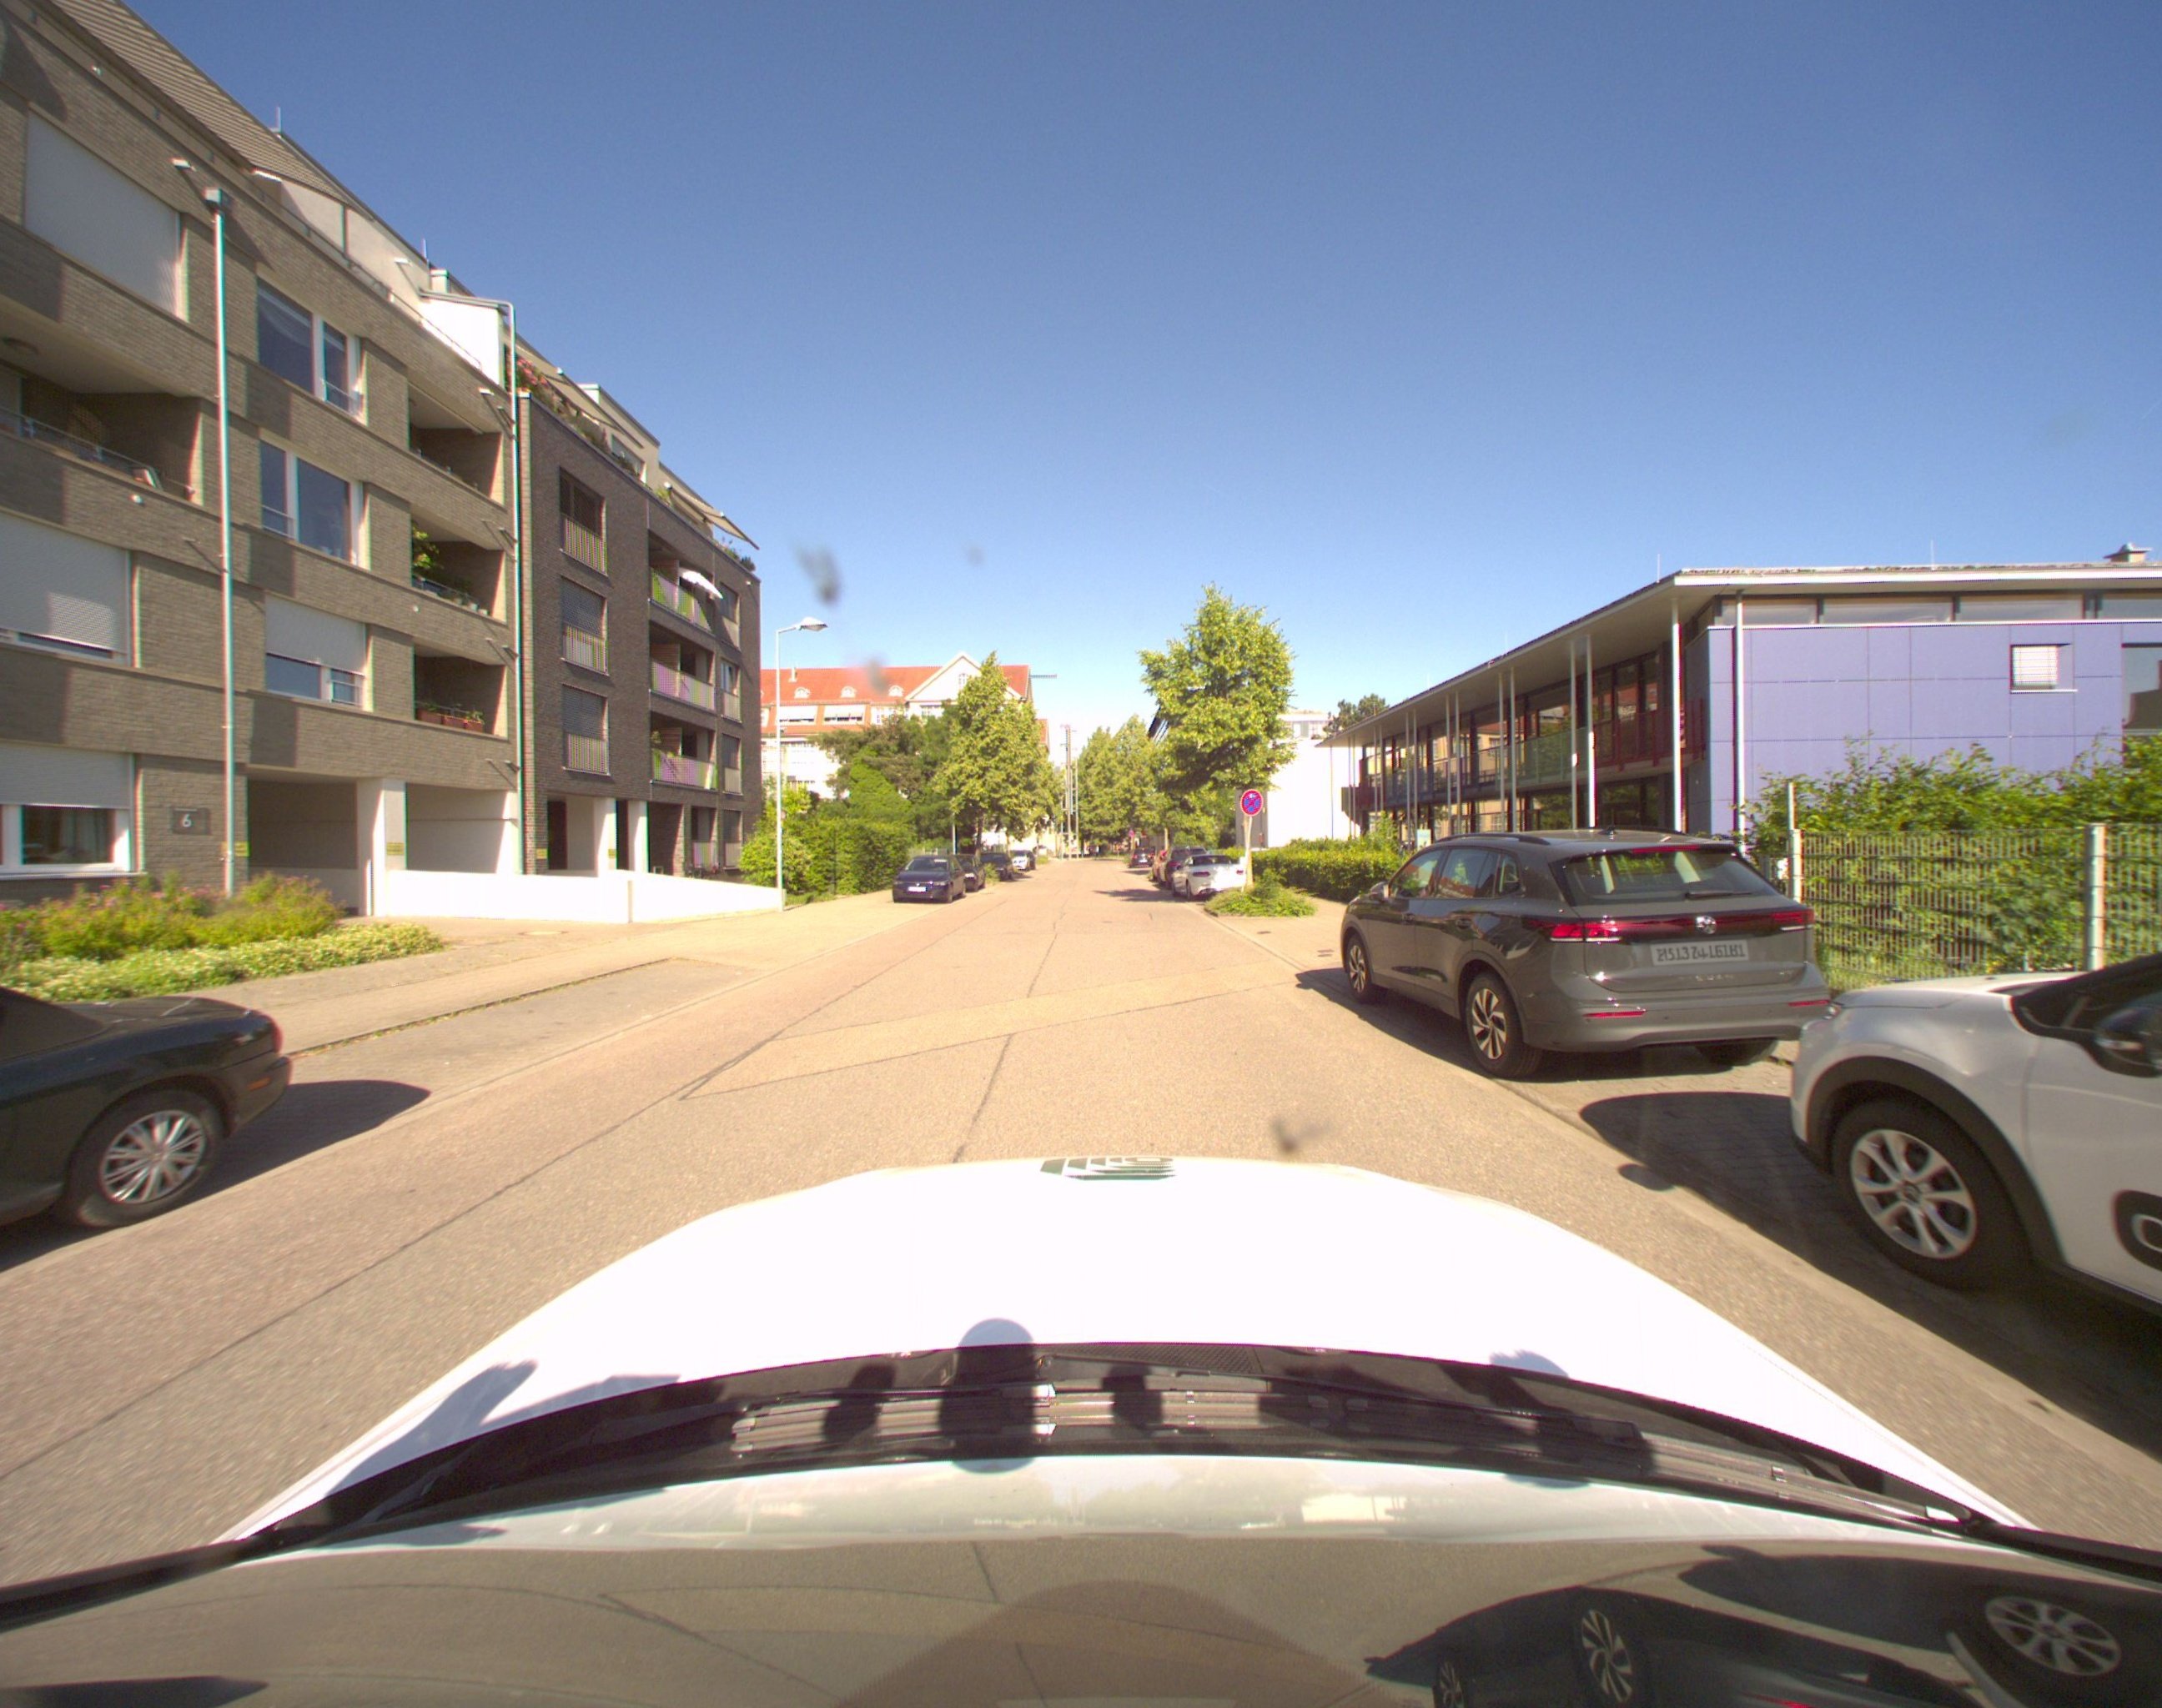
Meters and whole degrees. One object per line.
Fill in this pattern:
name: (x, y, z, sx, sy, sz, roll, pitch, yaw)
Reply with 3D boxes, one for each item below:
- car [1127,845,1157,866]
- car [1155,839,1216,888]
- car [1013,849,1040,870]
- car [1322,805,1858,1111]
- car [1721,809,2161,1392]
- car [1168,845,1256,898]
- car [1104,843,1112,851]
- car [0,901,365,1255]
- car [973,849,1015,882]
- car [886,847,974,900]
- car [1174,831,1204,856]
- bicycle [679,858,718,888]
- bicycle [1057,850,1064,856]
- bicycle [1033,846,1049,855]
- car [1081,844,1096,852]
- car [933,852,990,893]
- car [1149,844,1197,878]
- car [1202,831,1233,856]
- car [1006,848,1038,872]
car: (4.595, 0.076, 61.731, 1.986, 1.486, 4.001, -1, 0, 1)
car: (4.089, 0.359, 32.421, 1.815, 1.718, 4.119, -3, 0, 0)
car: (-4.002, 0.379, 60.688, 1.695, 1.470, 3.462, -1, 0, 1)
car: (3.536, 0.582, 6.789, 1.720, 1.652, 4.326, -3, 0, 0)
car: (3.681, 0.650, 1.730, 1.674, 1.542, 3.849, -1, 1, 1)
car: (3.949, 0.514, 25.245, 1.825, 1.422, 4.229, -3, 0, -2)
car: (7.117, -1.853, 212.178, 1.986, 2.013, 4.002, -1, 1, 1)
car: (-4.906, 0.902, 2.666, 1.593, 1.217, 3.877, 1, 0, 2)
car: (-4.428, 0.574, 41.957, 1.688, 1.605, 3.943, -1, 0, 1)
car: (-4.718, 0.581, 26.064, 1.753, 1.527, 4.005, 2, 0, 4)
car: (8.977, -0.890, 68.247, 2.017, 2.013, 4.001, -1, 0, 1)
bicycle: (-11.923, 0.575, 25.428, 0.252, 0.837, 1.776, -1, 1, 4)
bicycle: (-2.484, -0.165, 99.864, 0.375, 0.683, 1.068, -1, 1, -36)
bicycle: (-3.922, -0.366, 79.906, 1.464, 0.842, 0.335, -1, 1, -4)
car: (1.914, -1.585, 210.864, 3.972, 2.013, 2.001, -1, 1, 1)
car: (-4.699, 0.696, 32.437, 1.624, 1.501, 3.578, -1, 0, 1)
car: (4.287, 0.316, 38.370, 1.828, 1.516, 3.880, -1, 0, 0)
car: (11.373, -0.864, 68.223, 1.986, 2.013, 4.001, -1, 0, 1)
car: (-3.965, 0.376, 55.080, 1.771, 1.530, 4.001, -1, 0, 1)
